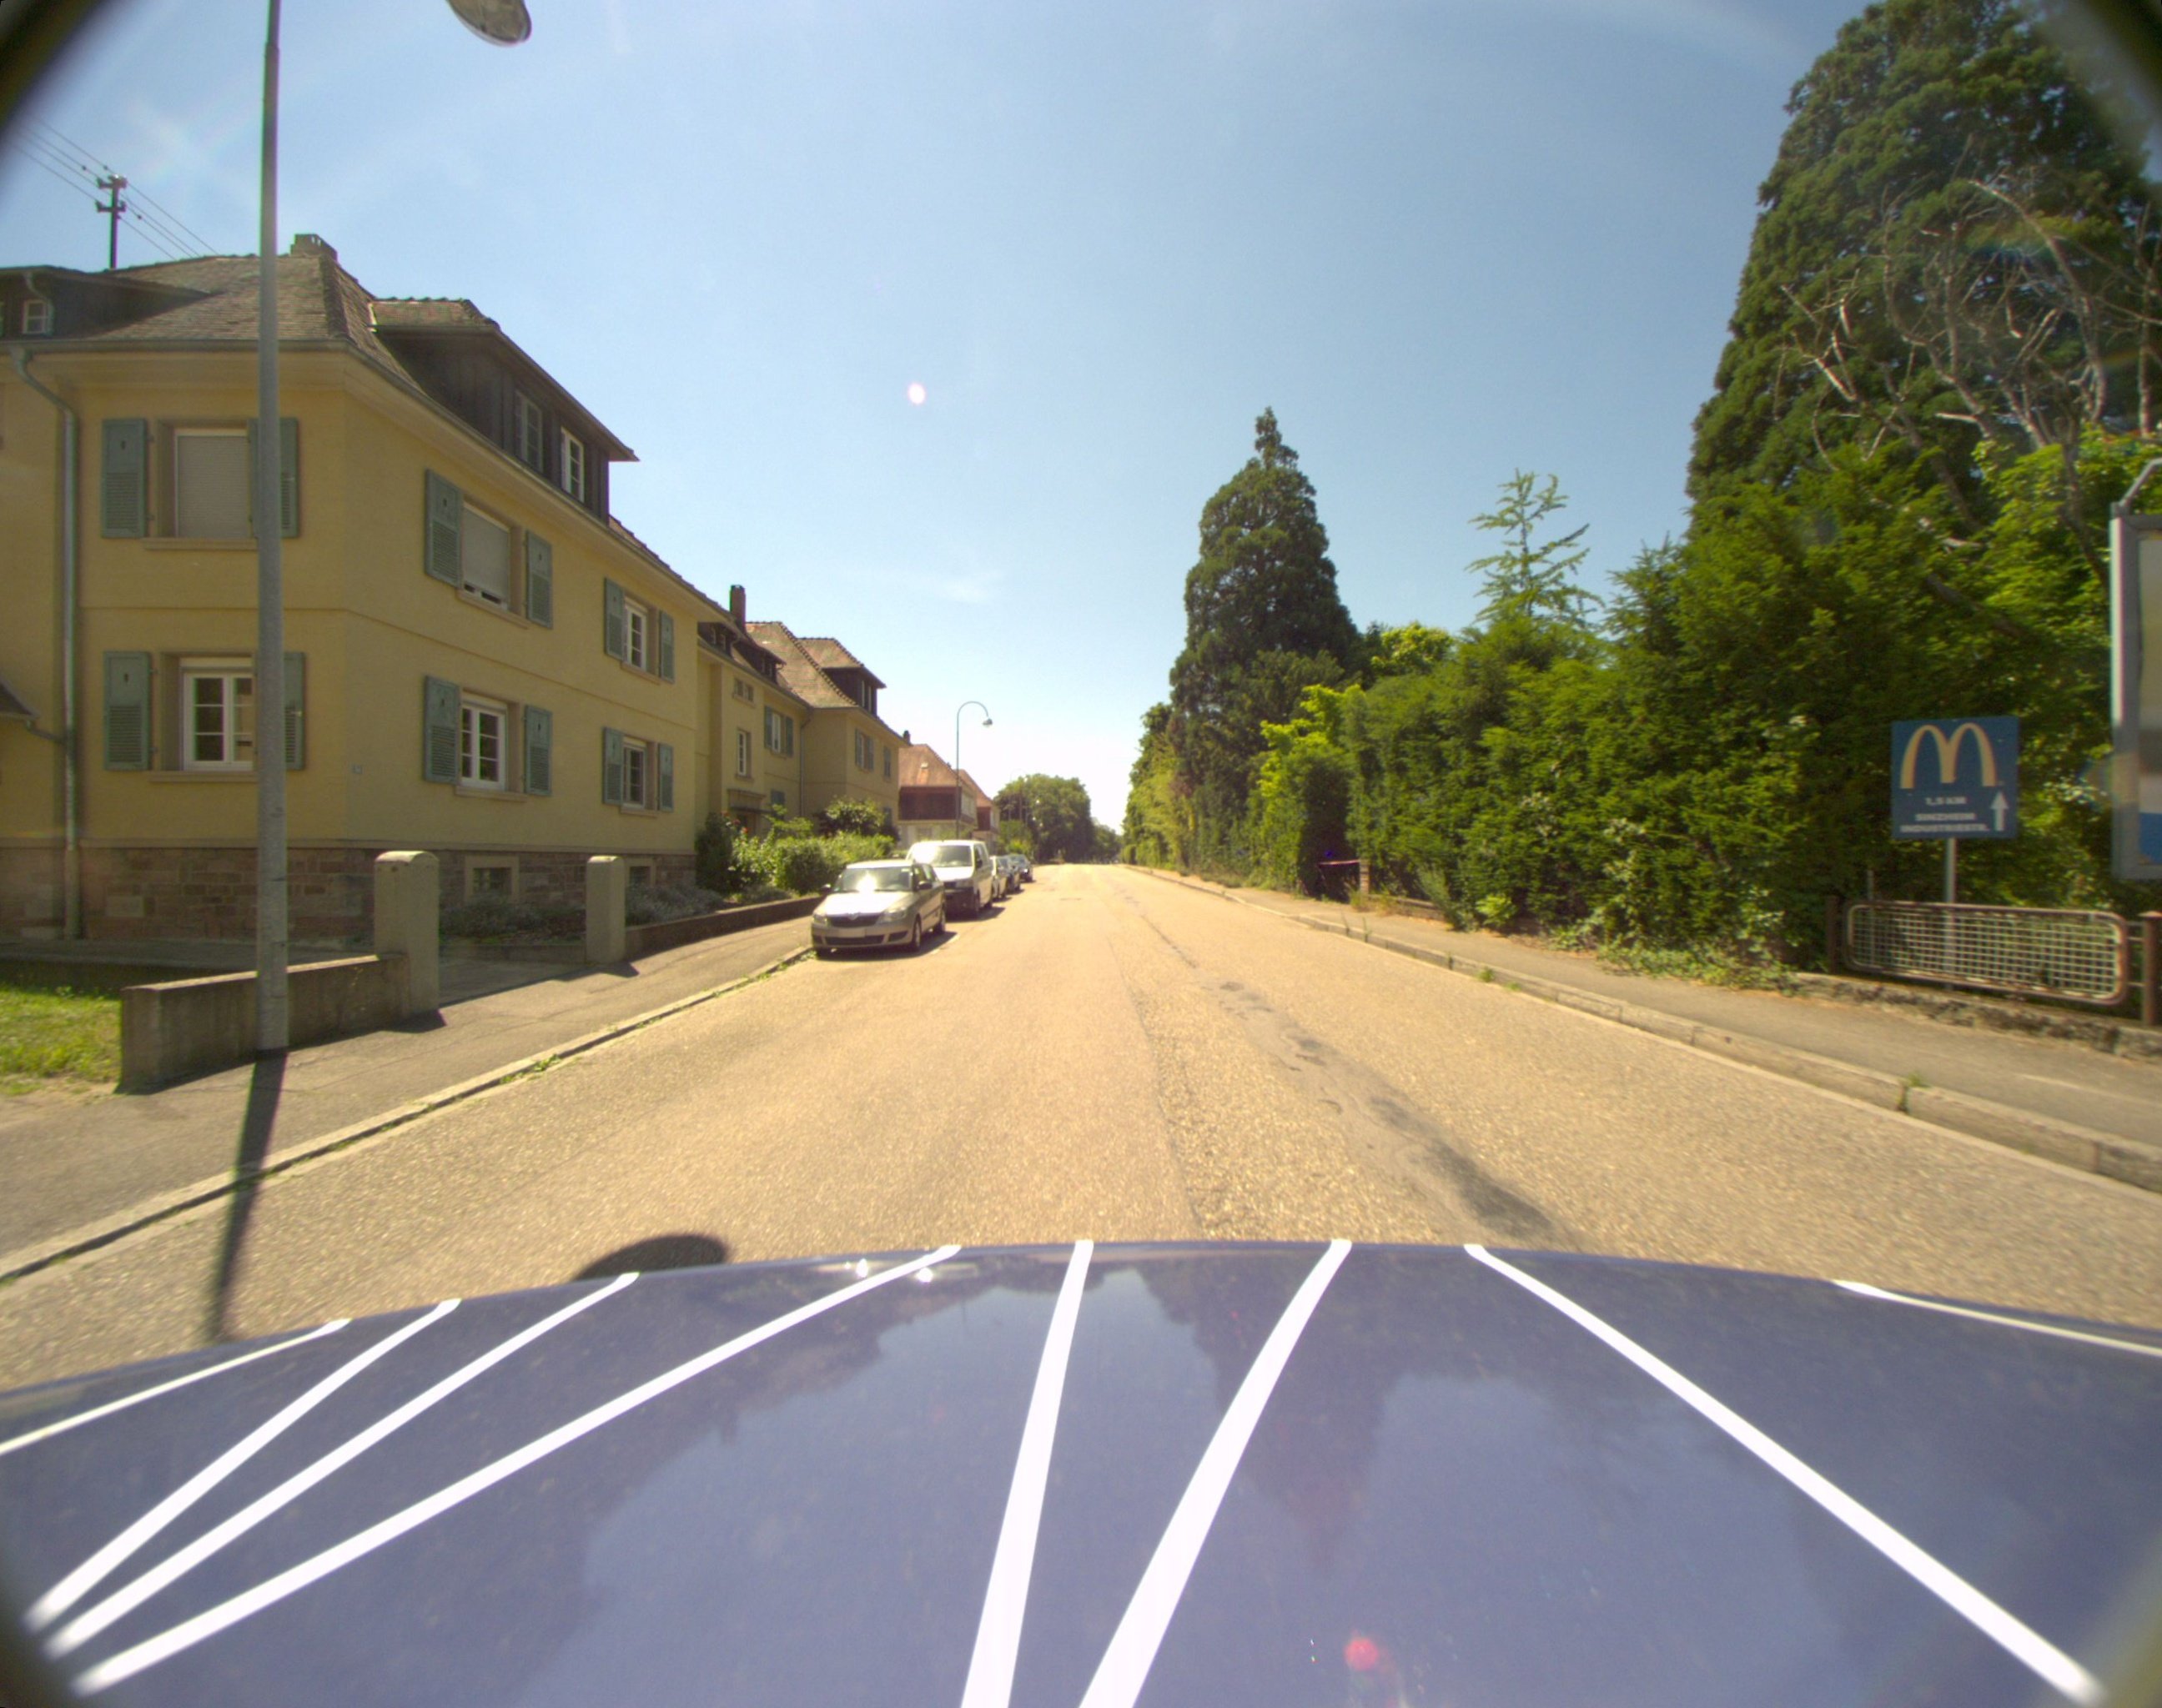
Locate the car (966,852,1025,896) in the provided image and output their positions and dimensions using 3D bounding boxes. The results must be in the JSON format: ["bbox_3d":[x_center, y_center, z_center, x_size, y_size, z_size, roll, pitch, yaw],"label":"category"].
[{"bbox_3d":[-3.257,0.722,29.665,1.806,1.505,4.336,-2,1,-1],"label":"car"}]

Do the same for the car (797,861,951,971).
[{"bbox_3d":[-3.406,0.939,13.256,1.600,1.495,3.999,-2,1,-1],"label":"car"}]

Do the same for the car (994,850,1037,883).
[{"bbox_3d":[-3.277,0.598,38.910,1.806,1.505,4.336,-2,1,-1],"label":"car"}]

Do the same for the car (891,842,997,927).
[{"bbox_3d":[-3.337,0.664,19.446,1.852,1.858,4.690,-2,1,-1],"label":"car"}]

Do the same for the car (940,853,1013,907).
[{"bbox_3d":[-3.346,0.782,25.056,1.806,1.505,4.337,-2,1,-1],"label":"car"}]
